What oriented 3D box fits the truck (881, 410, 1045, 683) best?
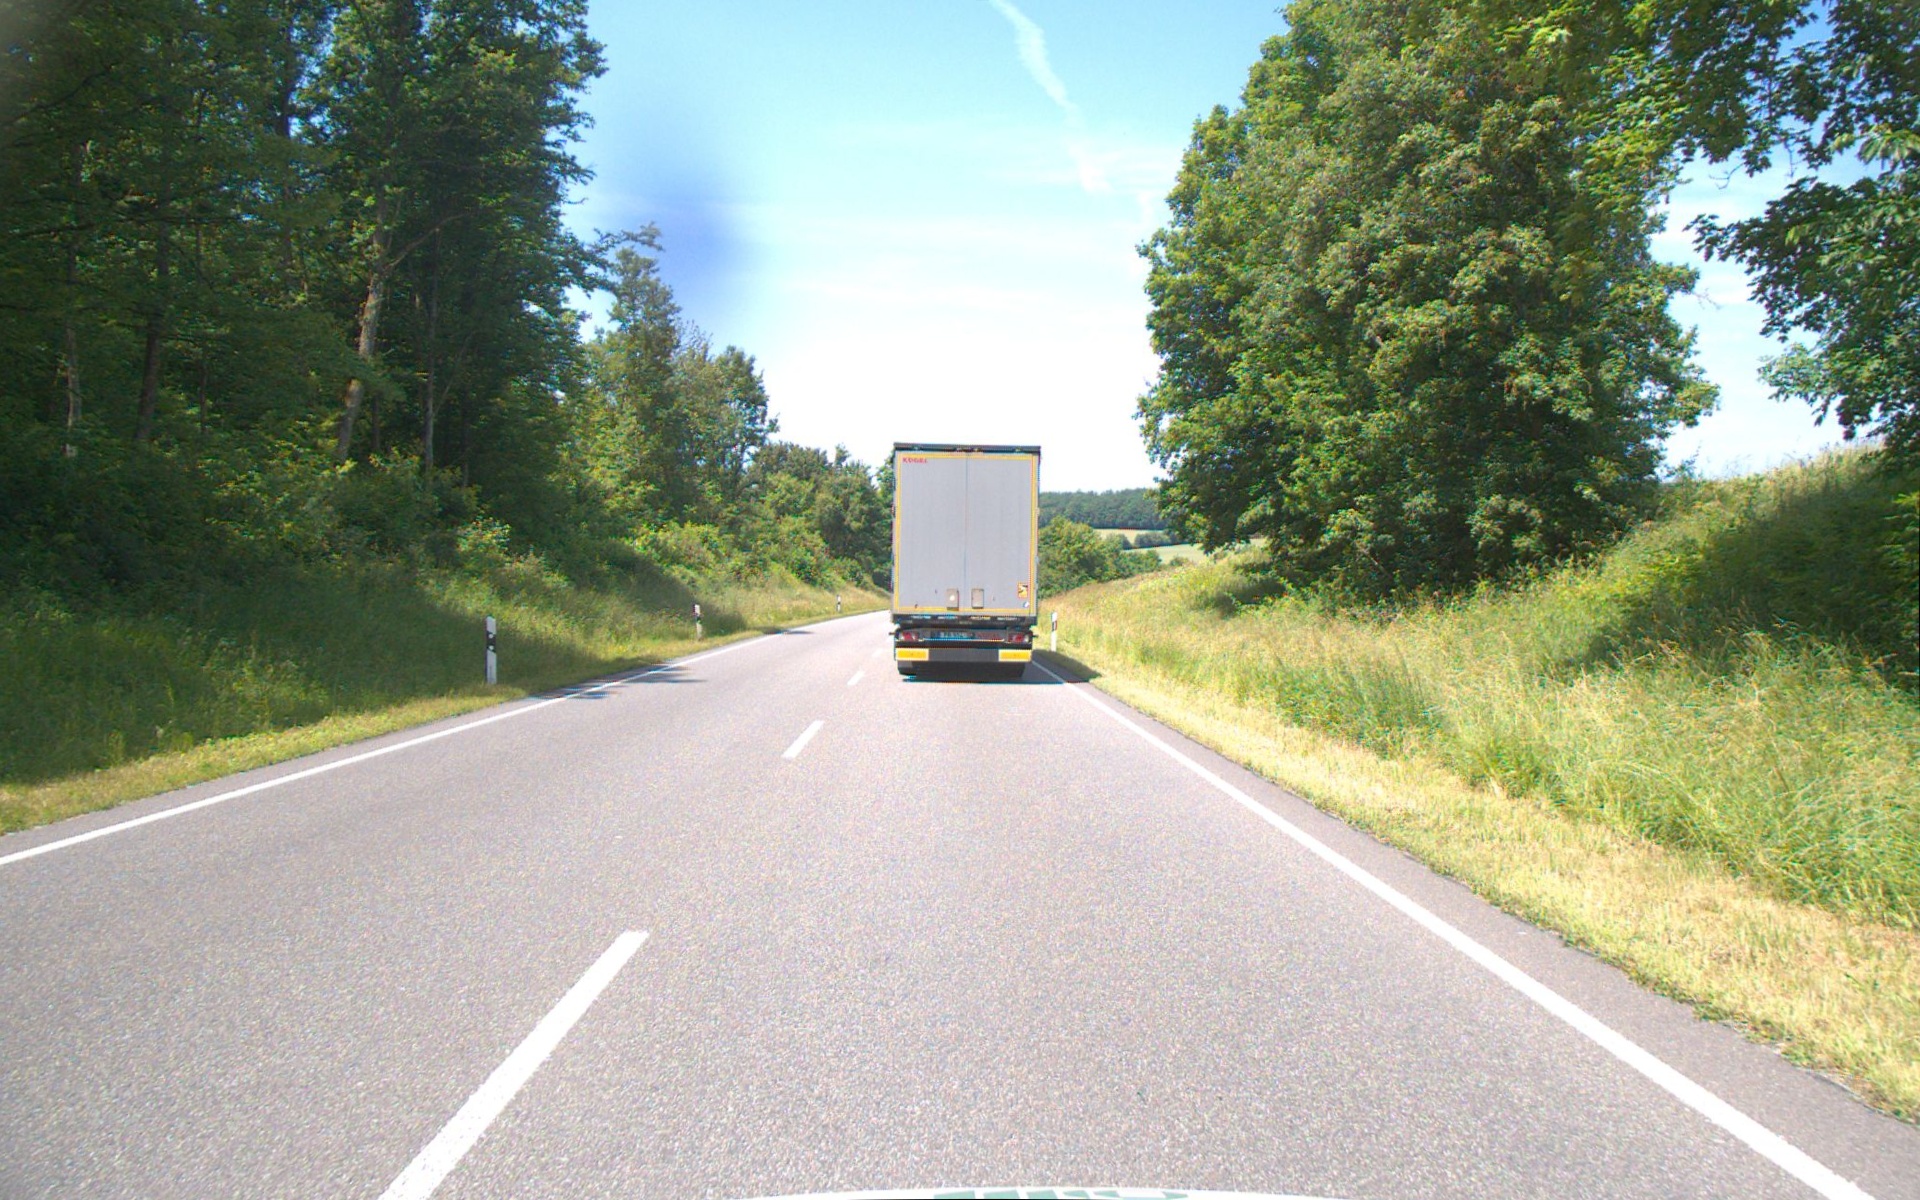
[{"bbox_3d":[-0.018,-0.948,33.836,2.760,4.612,11.766,0,0,-1],"label":"truck"}]
